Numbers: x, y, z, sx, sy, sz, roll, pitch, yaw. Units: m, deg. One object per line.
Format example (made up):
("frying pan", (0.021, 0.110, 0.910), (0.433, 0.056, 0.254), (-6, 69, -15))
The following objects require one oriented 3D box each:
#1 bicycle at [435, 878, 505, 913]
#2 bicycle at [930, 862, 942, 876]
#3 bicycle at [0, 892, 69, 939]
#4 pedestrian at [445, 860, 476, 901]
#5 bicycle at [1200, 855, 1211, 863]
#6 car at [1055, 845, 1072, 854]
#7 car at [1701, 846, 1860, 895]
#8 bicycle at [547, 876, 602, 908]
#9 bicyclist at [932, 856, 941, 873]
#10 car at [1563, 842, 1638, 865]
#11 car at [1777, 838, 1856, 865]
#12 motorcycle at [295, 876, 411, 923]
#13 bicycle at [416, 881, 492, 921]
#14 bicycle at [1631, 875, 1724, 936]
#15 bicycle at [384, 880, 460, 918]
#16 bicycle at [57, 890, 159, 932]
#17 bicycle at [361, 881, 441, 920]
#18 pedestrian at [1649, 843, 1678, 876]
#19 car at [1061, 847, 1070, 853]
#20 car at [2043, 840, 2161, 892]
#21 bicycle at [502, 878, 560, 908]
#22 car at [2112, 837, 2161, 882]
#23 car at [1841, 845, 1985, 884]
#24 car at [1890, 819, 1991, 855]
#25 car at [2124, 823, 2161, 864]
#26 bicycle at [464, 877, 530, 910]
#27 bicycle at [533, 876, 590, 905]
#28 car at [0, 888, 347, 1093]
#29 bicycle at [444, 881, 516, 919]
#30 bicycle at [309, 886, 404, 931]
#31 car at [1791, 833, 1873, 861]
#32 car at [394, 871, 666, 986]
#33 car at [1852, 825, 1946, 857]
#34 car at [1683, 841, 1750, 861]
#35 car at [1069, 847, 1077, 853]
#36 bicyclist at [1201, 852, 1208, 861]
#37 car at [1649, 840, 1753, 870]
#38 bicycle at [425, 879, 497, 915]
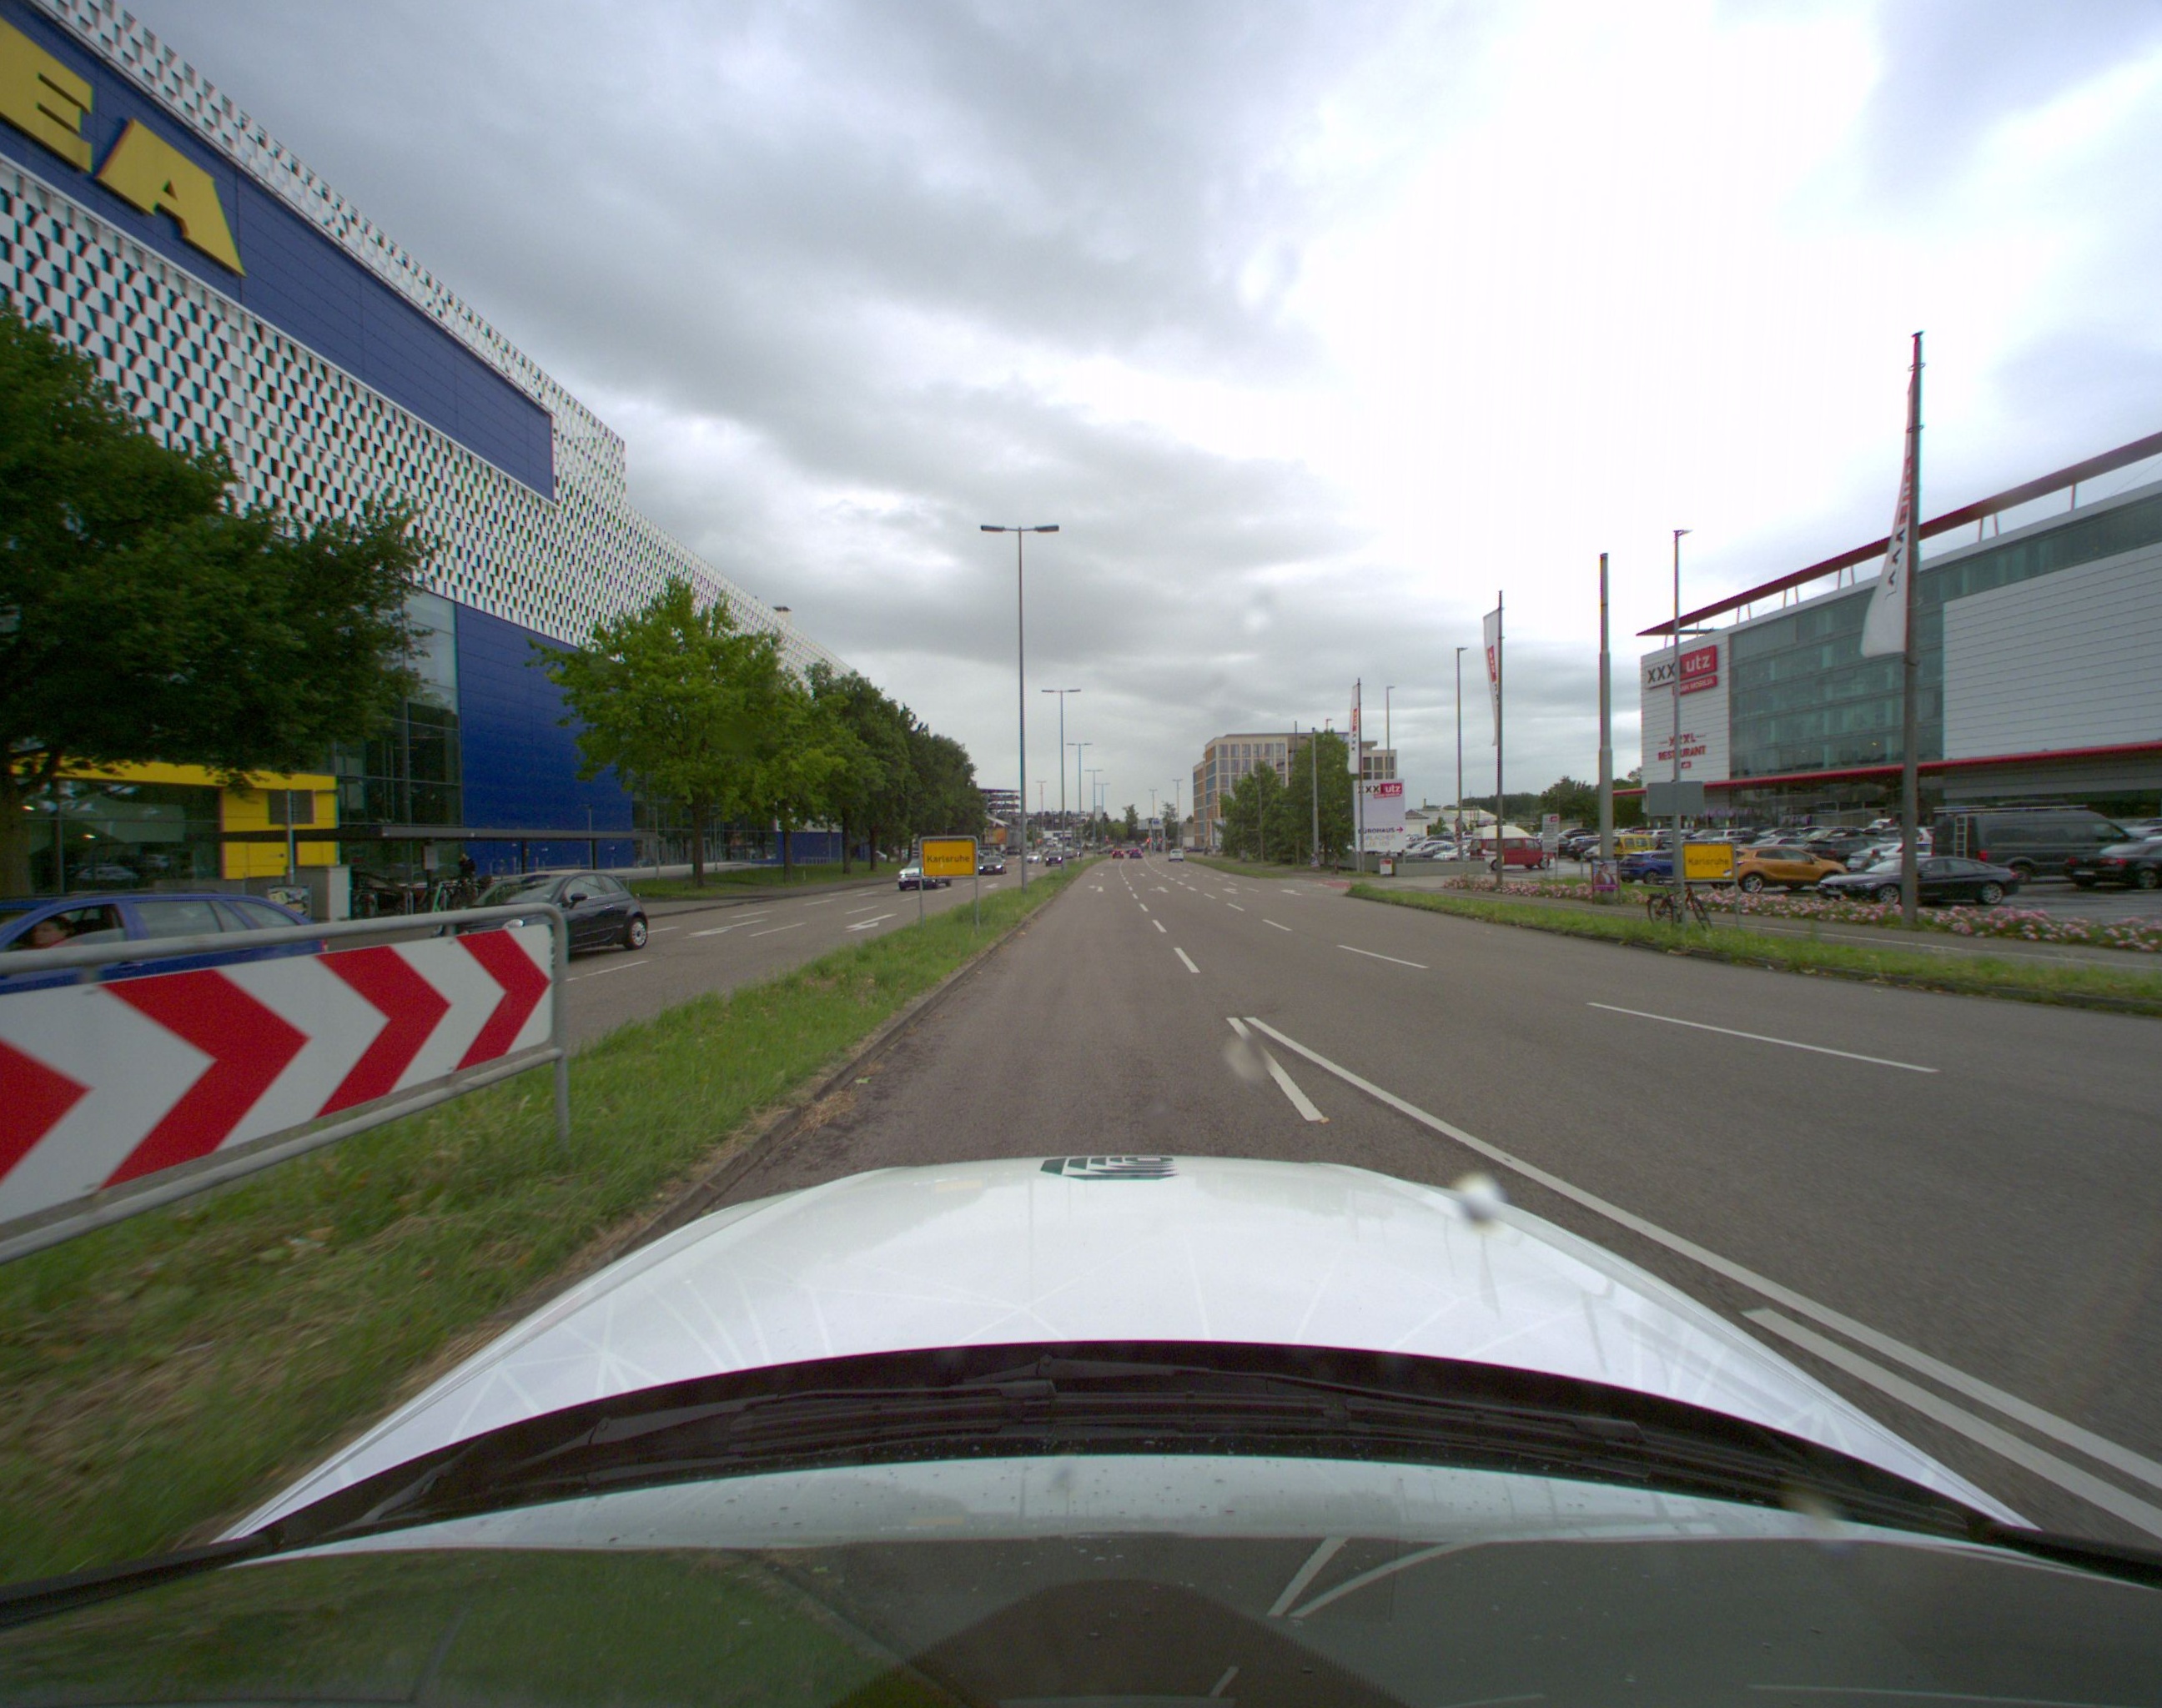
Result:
("bicycle", (-21.612, 1.455, 28.828), (2.008, 1.157, 0.594), (1, 0, 1))
("bicycle", (-13.490, 1.361, 75.883), (0.640, 1.251, 2.057), (1, 0, 2))
("bicycle", (-27.673, 1.587, 21.018), (2.016, 1.157, 0.591), (1, 0, -12))
("pedestrian", (-26.624, 1.134, 34.943), (0.674, 1.745, 0.808), (0, 0, 1))
("bicycle", (21.926, 0.871, 143.189), (0.705, 1.295, 1.990), (-1, 1, -33))
("car", (-4.020, -1.016, 187.541), (3.976, 1.790, 1.846), (-1, 2, -2))
("car", (24.871, 0.575, 29.072), (3.966, 1.643, 1.818), (-1, 0, 6))
("bicycle", (-19.709, 1.485, 31.672), (2.000, 1.157, 0.596), (1, 0, 16))
("bicyclist", (-13.467, 0.976, 75.901), (0.638, 1.577, 1.000), (1, 0, 1))
("car", (35.610, -0.057, 55.902), (3.973, 1.534, 1.889), (0, 0, 1))
("car", (52.231, -0.178, 57.866), (3.972, 1.820, 1.787), (0, 0, 2))
("motorcycle", (-21.641, 1.352, 24.251), (2.492, 1.355, 0.797), (1, 0, -11))
("bicycle", (-19.438, 1.451, 25.266), (1.887, 1.157, 0.594), (1, 0, 1))
("bicycle", (11.031, 0.929, 15.118), (0.659, 1.048, 1.695), (-1, -1, 8))
("bicycle", (-21.427, 1.458, 26.493), (2.008, 1.157, 0.594), (1, 0, 1))
("bicycle", (-27.733, 1.622, 23.236), (2.012, 1.157, 0.593), (1, 0, -5))
("bicycle", (-21.520, 1.461, 25.786), (2.008, 1.157, 0.594), (1, 0, 1))
("pedestrian", (31.581, 0.297, 44.147), (0.936, 1.719, 0.886), (-1, 2, 0))
("car", (-4.430, -1.111, 231.944), (1.766, 1.705, 3.926), (-1, 2, 8))
("car", (34.115, 0.349, 26.159), (3.971, 1.568, 2.001), (-1, 0, 2))
("bicycle", (-21.223, 1.499, 31.440), (1.803, 1.082, 0.594), (1, 0, 1))
("car", (39.817, 0.174, 28.898), (3.970, 1.555, 1.856), (0, 0, 3))
("car", (34.522, 0.431, 33.896), (3.969, 1.552, 1.865), (-1, -1, 3))
("car", (50.939, -1.041, 48.318), (3.975, 2.055, 1.914), (-1, 1, -1))
("car", (49.890, -0.507, 36.420), (4.171, 1.775, 1.854), (-2, 1, -1))
("bicycle", (-21.585, 1.466, 30.129), (2.008, 1.157, 0.594), (1, 0, 1))
("bicycle", (-21.454, 1.489, 33.656), (2.007, 1.122, 0.594), (1, 0, 4))
("car", (-8.859, 1.109, 6.789), (1.597, 1.444, 4.144), (-3, -1, 1))
("bicycle", (-19.433, 1.483, 26.347), (1.887, 1.157, 0.594), (1, 0, 1))
("bicycle", (-19.335, 1.446, 21.748), (2.008, 1.157, 0.594), (-1, 0, 1))
("car", (51.357, -0.463, 55.754), (3.977, 1.822, 1.887), (0, 0, -3))
("car", (-8.766, 1.088, 13.440), (1.597, 1.498, 4.038), (-3, -1, 1))
("car", (50.985, -0.790, 50.821), (3.975, 1.926, 1.934), (-1, -1, -1))
("car", (51.253, -0.265, 65.755), (3.968, 1.561, 1.779), (-1, 2, 4))
("car", (-2.248, -1.141, 231.884), (1.766, 1.705, 3.926), (-1, 2, 8))
("bicyclist", (21.792, 0.444, 143.369), (0.705, 1.504, 0.990), (-1, 1, -33))
("car", (34.729, 0.052, 45.699), (4.392, 1.583, 1.836), (0, 2, 3))
("bicycle", (-21.084, 1.446, 27.710), (2.008, 1.157, 0.594), (1, 0, 1))
